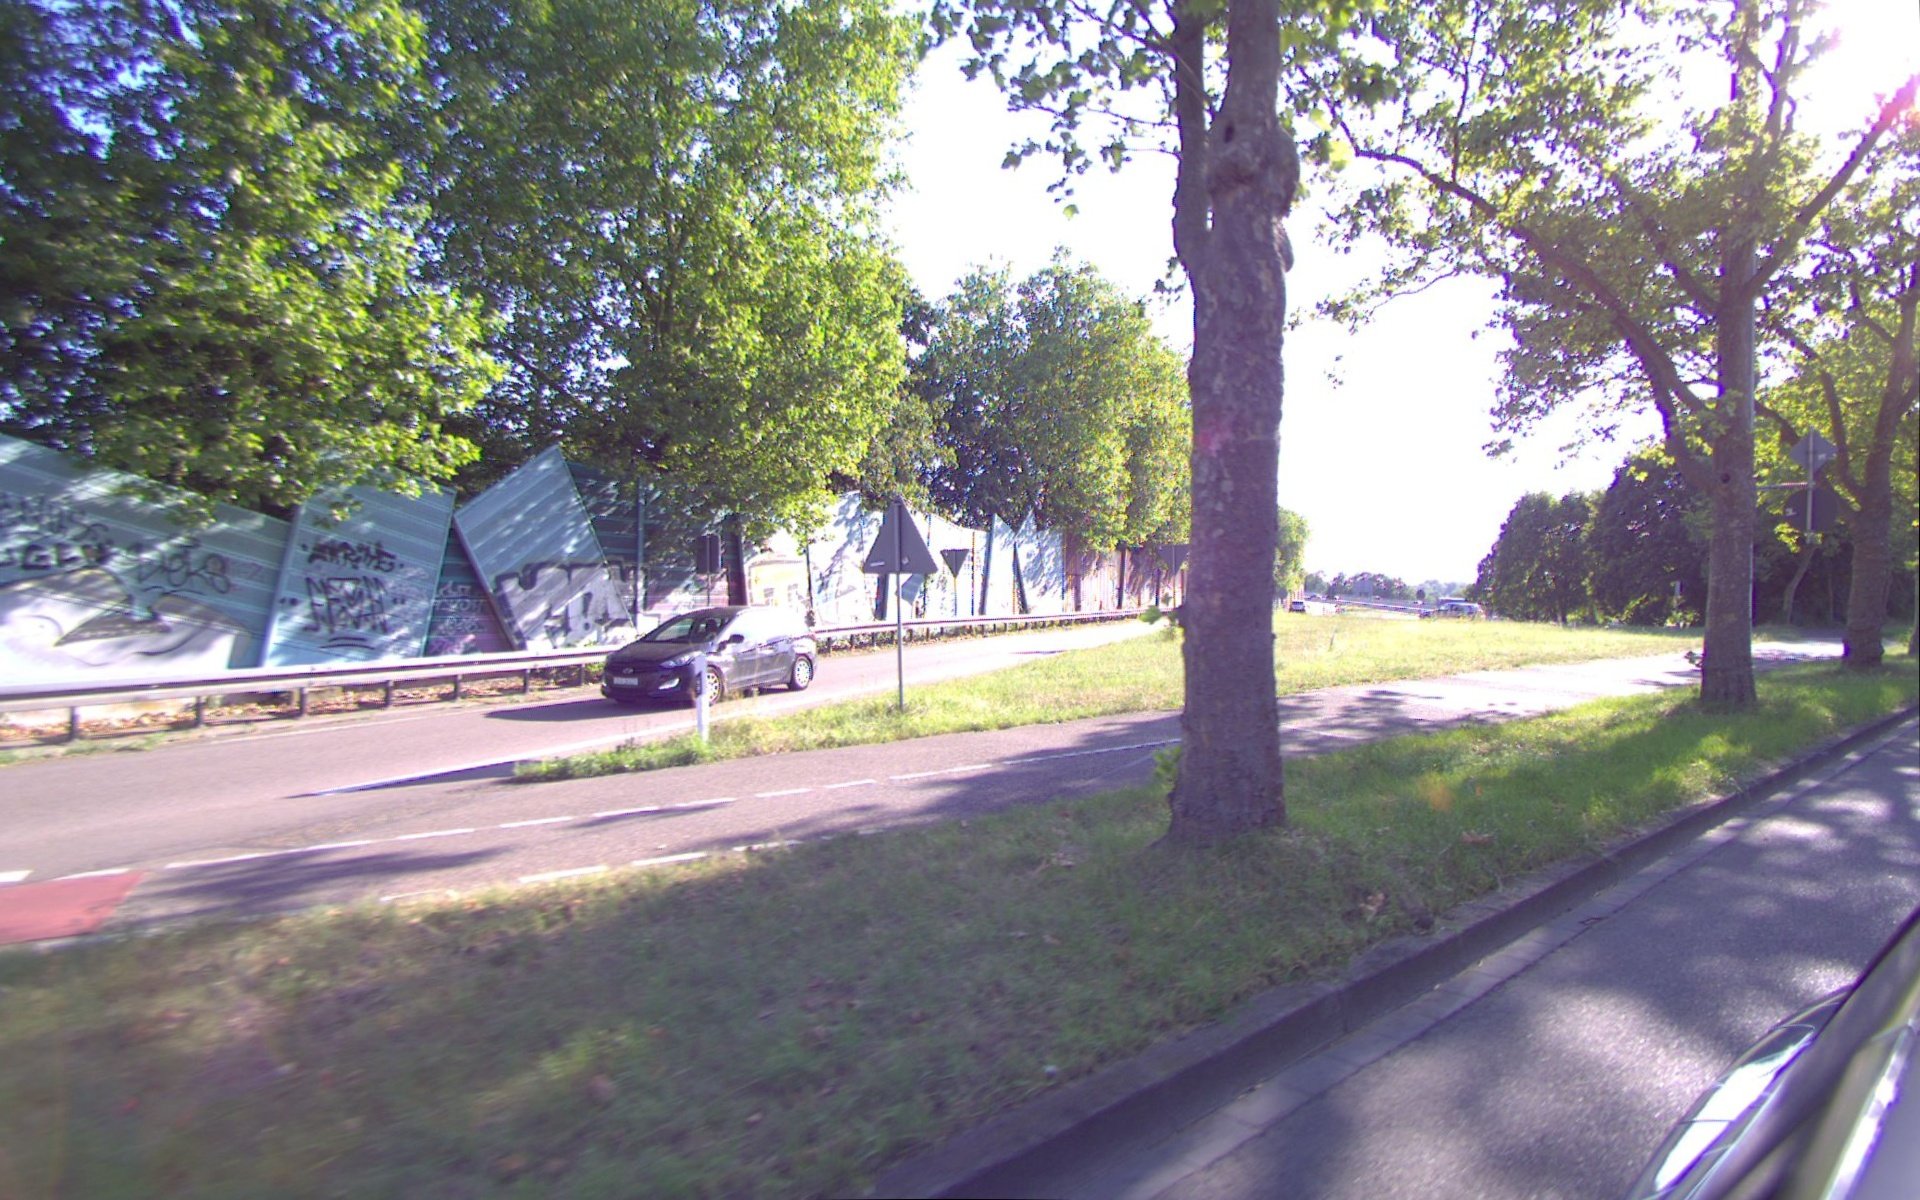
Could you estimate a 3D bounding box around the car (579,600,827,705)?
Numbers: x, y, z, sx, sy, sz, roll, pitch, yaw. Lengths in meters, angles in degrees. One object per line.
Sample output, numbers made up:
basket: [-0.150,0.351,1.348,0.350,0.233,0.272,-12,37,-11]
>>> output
car: [-4.053,0.741,16.703,1.779,1.458,4.189,0,0,24]

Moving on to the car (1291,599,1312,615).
car: [37.988,0.757,112.410,1.796,1.795,3.829,0,0,25]

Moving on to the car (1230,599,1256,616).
car: [26.268,0.663,93.818,1.778,1.458,4.190,0,0,23]

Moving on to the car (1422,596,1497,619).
car: [32.819,0.474,66.518,1.663,1.435,4.133,0,0,-36]

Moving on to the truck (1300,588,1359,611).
truck: [72.301,-0.114,198.055,10.485,3.537,2.634,5,2,21]
